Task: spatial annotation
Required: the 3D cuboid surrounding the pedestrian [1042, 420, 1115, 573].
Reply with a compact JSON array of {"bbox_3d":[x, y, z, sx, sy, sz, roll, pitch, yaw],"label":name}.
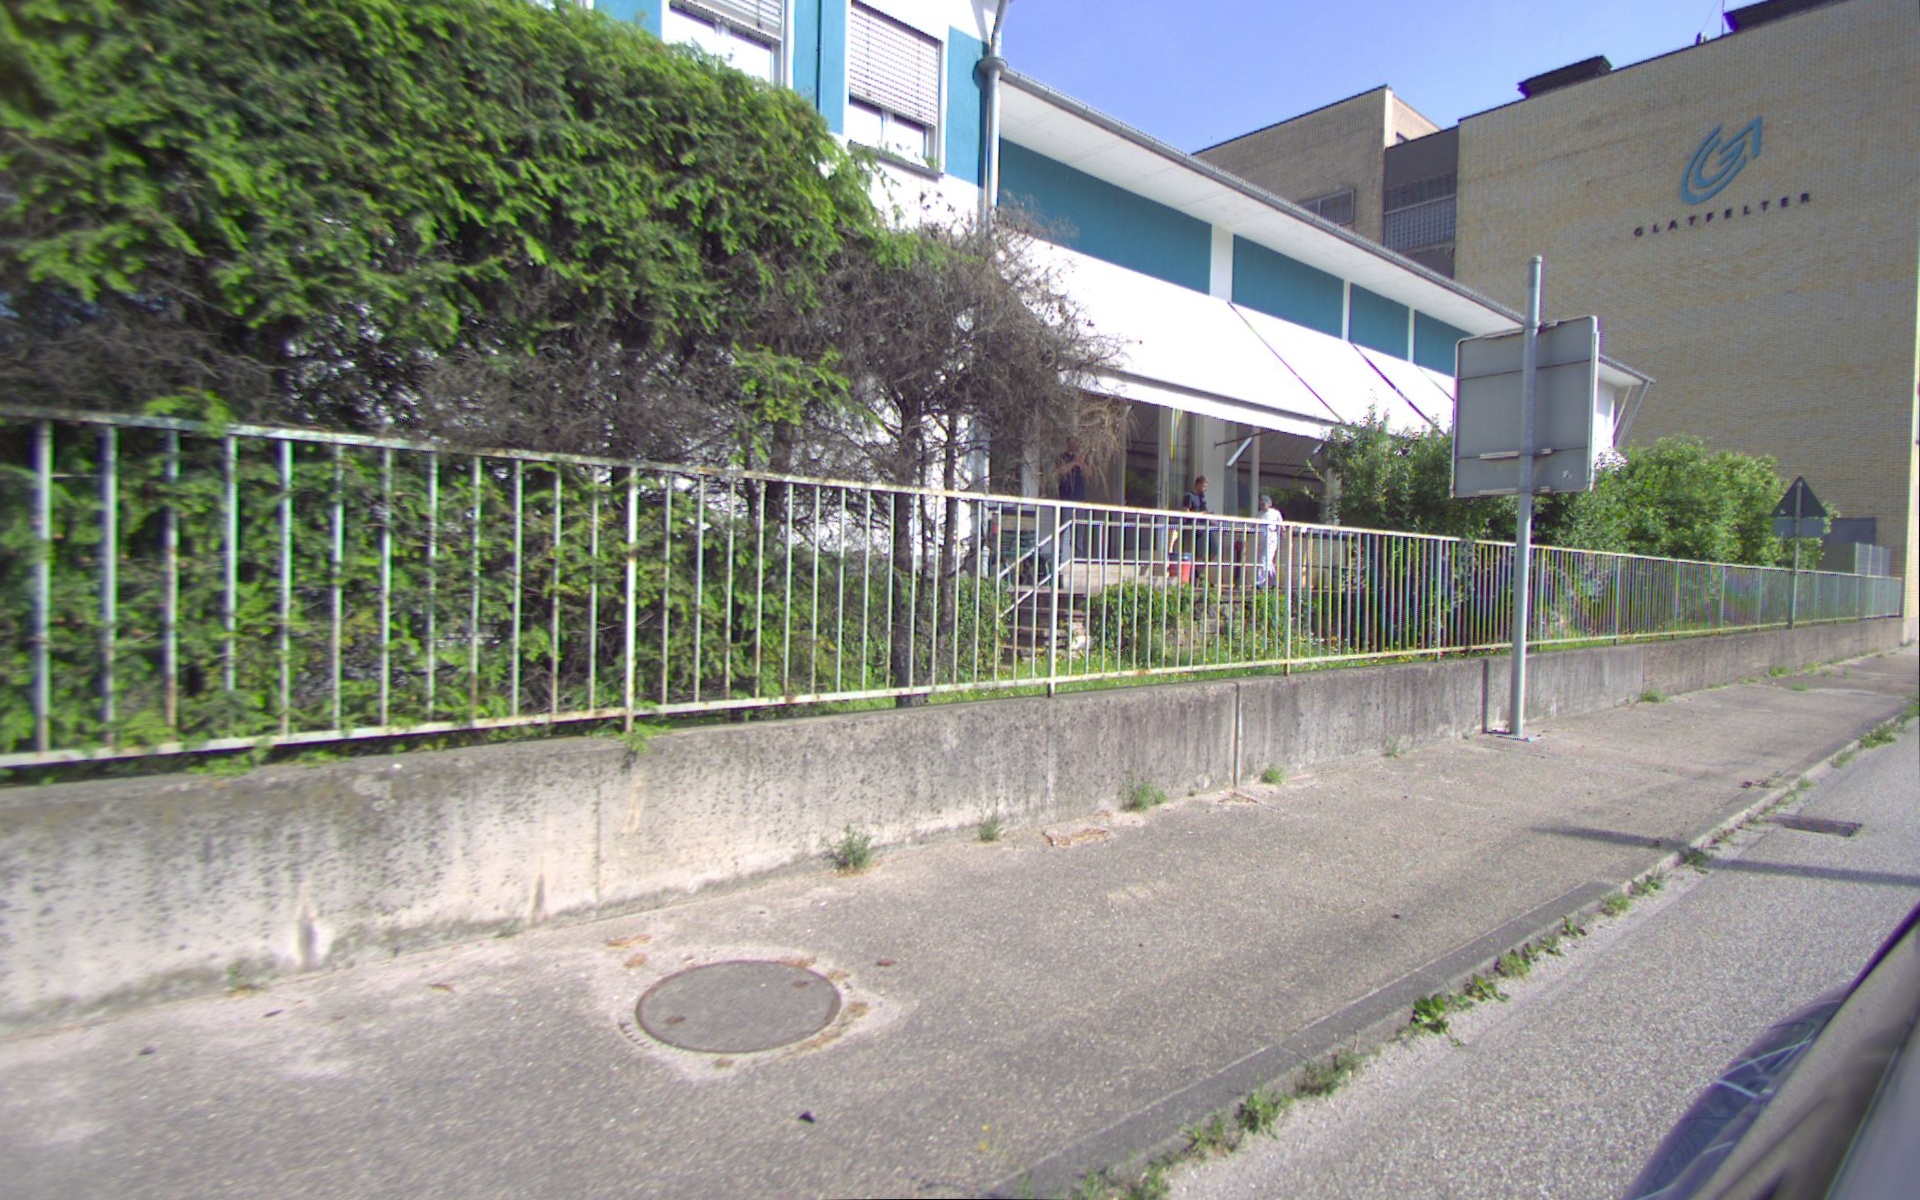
[{"bbox_3d":[1.648,-1.403,14.091,0.669,2.039,0.736,0,1,-40],"label":"pedestrian"}]
